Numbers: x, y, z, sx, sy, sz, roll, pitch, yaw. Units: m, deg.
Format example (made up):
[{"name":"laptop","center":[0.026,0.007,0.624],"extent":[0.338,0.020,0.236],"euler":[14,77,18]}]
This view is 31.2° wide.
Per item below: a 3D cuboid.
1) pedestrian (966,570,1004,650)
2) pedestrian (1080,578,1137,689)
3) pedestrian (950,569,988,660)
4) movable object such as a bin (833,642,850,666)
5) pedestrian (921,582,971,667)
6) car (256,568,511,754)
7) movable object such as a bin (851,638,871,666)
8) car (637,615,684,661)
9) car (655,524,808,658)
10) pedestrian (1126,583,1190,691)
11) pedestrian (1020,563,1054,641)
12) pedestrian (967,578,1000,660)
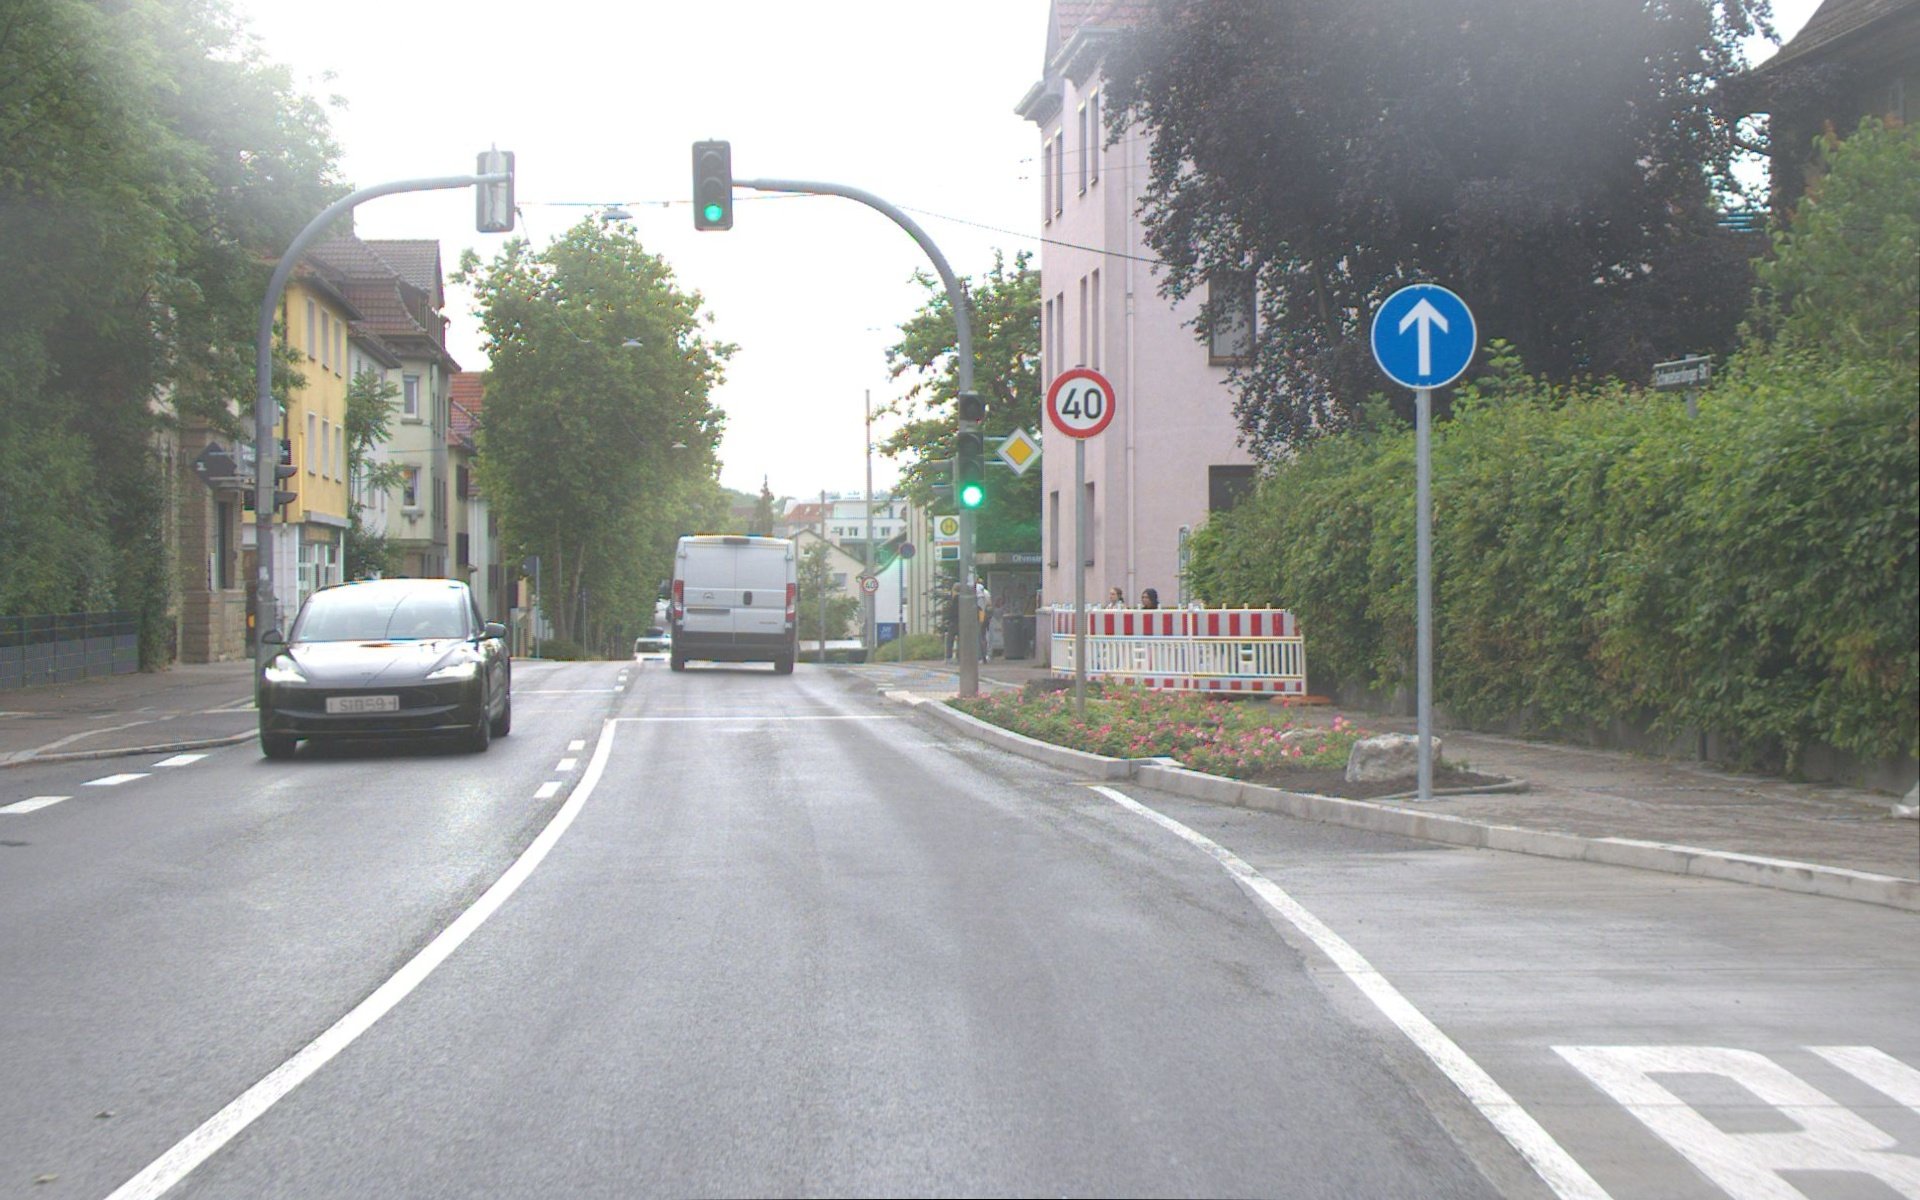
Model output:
[{"name":"pedestrian","center":[0.544,0.230,75.667],"extent":[0.660,1.735,0.829],"euler":[-1,-1,-10]},{"name":"pedestrian","center":[2.239,0.509,51.948],"extent":[0.784,1.636,1.222],"euler":[1,-1,0]},{"name":"pedestrian","center":[0.189,0.305,71.903],"extent":[0.487,1.869,0.632],"euler":[-3,0,28]},{"name":"movable object such as a bin","center":[-4.700,2.148,136.202],"extent":[0.619,0.933,0.686],"euler":[-3,-1,-3]},{"name":"pedestrian","center":[-0.293,0.511,71.366],"extent":[0.634,1.704,0.749],"euler":[-2,0,-38]},{"name":"car","center":[-4.853,0.460,29.451],"extent":[1.783,1.447,4.390],"euler":[0,1,-5]},{"name":"movable object such as a bin","center":[-3.930,2.062,136.417],"extent":[0.695,1.078,0.778],"euler":[-3,-1,-3]},{"name":"car","center":[-12.493,1.612,143.711],"extent":[1.881,1.863,4.453],"euler":[-1,-1,-4]},{"name":"car","center":[-3.905,-0.161,57.943],"extent":[2.346,2.153,4.778],"euler":[0,0,-6]},{"name":"pedestrian","center":[2.909,0.540,50.601],"extent":[0.875,1.555,1.049],"euler":[1,-1,1]},{"name":"pedestrian","center":[1.828,0.058,81.636],"extent":[0.647,1.825,0.741],"euler":[-1,-1,10]},{"name":"pedestrian","center":[0.494,0.392,72.582],"extent":[0.447,1.702,0.557],"euler":[-3,0,23]}]
